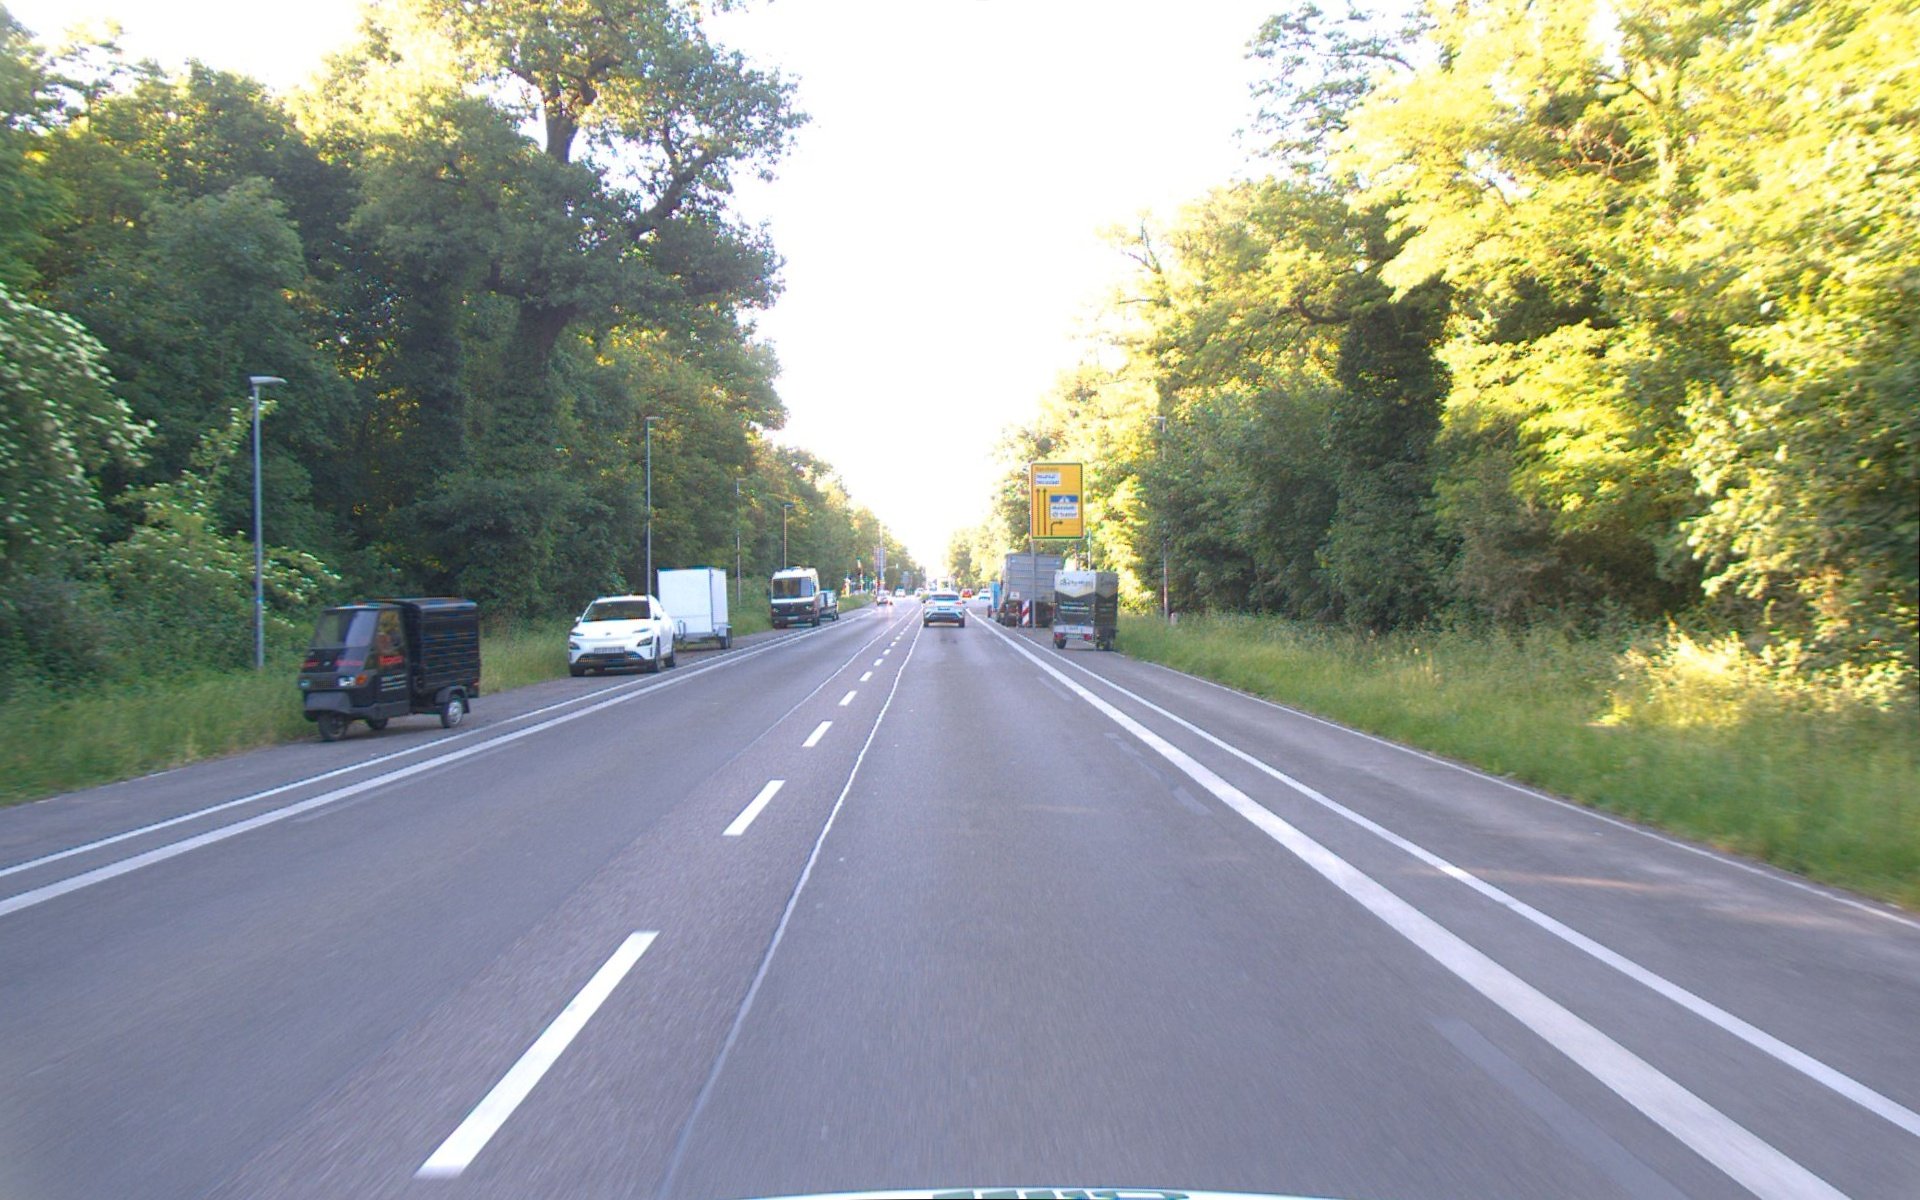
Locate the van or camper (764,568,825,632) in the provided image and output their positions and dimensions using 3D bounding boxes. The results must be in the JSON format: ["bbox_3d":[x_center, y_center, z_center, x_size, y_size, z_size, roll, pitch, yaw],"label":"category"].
[{"bbox_3d":[-7.837,-0.014,78.891,2.255,2.816,5.556,-3,0,-1],"label":"van or camper"}]

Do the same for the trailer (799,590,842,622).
[{"bbox_3d":[-7.755,0.313,92.362,1.439,1.688,3.368,-2,0,12],"label":"trailer"}]

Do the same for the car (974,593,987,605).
[{"bbox_3d":[3.038,-0.146,246.899,1.953,1.646,4.000,1,0,0],"label":"car"}]

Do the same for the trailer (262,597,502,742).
[{"bbox_3d":[-6.887,0.777,19.928,1.366,1.601,2.675,0,0,19],"label":"trailer"}]

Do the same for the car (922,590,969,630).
[{"bbox_3d":[-0.635,0.426,71.926,1.953,1.668,3.999,-1,0,-1],"label":"car"}]

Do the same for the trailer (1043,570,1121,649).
[{"bbox_3d":[3.412,0.248,46.119,1.580,2.149,2.397,0,0,20],"label":"trailer"}]

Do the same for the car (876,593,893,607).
[{"bbox_3d":[-7.945,-0.052,174.855,1.644,1.440,4.000,-1,0,0],"label":"car"}]

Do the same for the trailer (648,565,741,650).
[{"bbox_3d":[-7.706,0.210,48.239,2.032,2.333,3.487,-1,0,1],"label":"trailer"}]

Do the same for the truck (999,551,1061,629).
[{"bbox_3d":[3.152,-0.434,75.992,2.454,3.425,7.106,1,0,0],"label":"truck"}]

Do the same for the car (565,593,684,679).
[{"bbox_3d":[-6.978,0.700,34.770,1.778,1.599,4.205,-2,0,-3],"label":"car"}]

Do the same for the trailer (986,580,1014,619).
[{"bbox_3d":[2.393,-0.050,99.285,1.469,2.274,4.549,1,0,0],"label":"trailer"}]
